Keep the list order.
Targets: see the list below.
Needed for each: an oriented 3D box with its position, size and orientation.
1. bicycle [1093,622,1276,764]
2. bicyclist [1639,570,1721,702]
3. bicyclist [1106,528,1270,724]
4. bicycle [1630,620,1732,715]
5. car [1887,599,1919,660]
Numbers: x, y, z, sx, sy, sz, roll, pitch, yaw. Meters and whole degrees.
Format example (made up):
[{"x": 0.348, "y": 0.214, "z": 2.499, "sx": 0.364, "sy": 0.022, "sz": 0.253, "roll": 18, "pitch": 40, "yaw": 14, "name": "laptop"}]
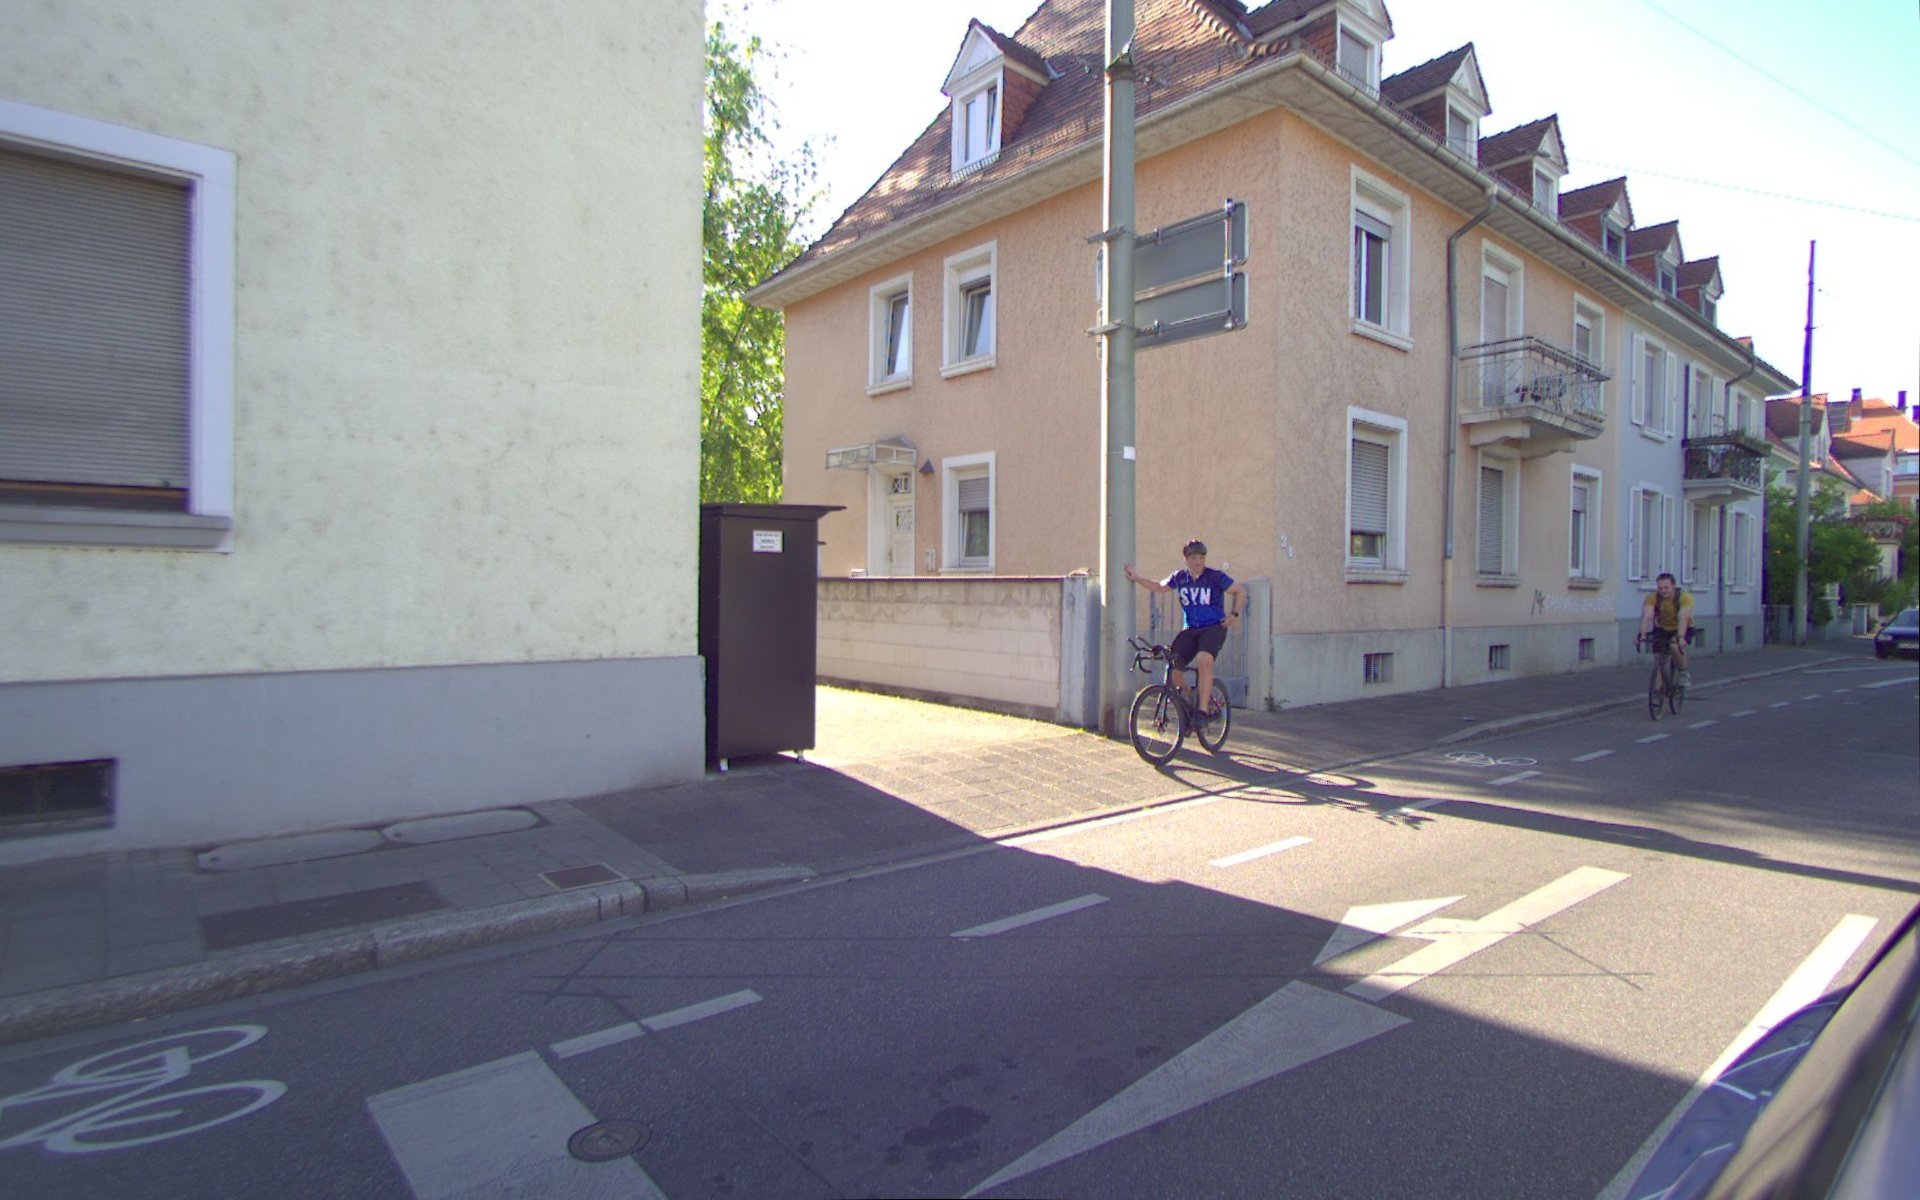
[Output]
[{"x": 2.034, "y": 0.776, "z": 9.039, "sx": 1.744, "sy": 1.081, "sz": 0.592, "roll": 0, "pitch": 5, "yaw": -41, "name": "bicycle"}, {"x": 9.378, "y": 0.444, "z": 13.175, "sx": 0.841, "sy": 1.641, "sz": 0.685, "roll": 0, "pitch": 0, "yaw": -41, "name": "bicyclist"}, {"x": 2.089, "y": 0.200, "z": 9.324, "sx": 0.870, "sy": 1.627, "sz": 1.052, "roll": 1, "pitch": 5, "yaw": -41, "name": "bicyclist"}, {"x": 9.432, "y": 0.842, "z": 13.222, "sx": 1.774, "sy": 1.118, "sz": 0.685, "roll": -1, "pitch": 0, "yaw": -41, "name": "bicycle"}, {"x": 26.692, "y": 0.762, "z": 27.369, "sx": 3.742, "sy": 1.601, "sz": 1.696, "roll": 0, "pitch": -1, "yaw": -36, "name": "car"}]
